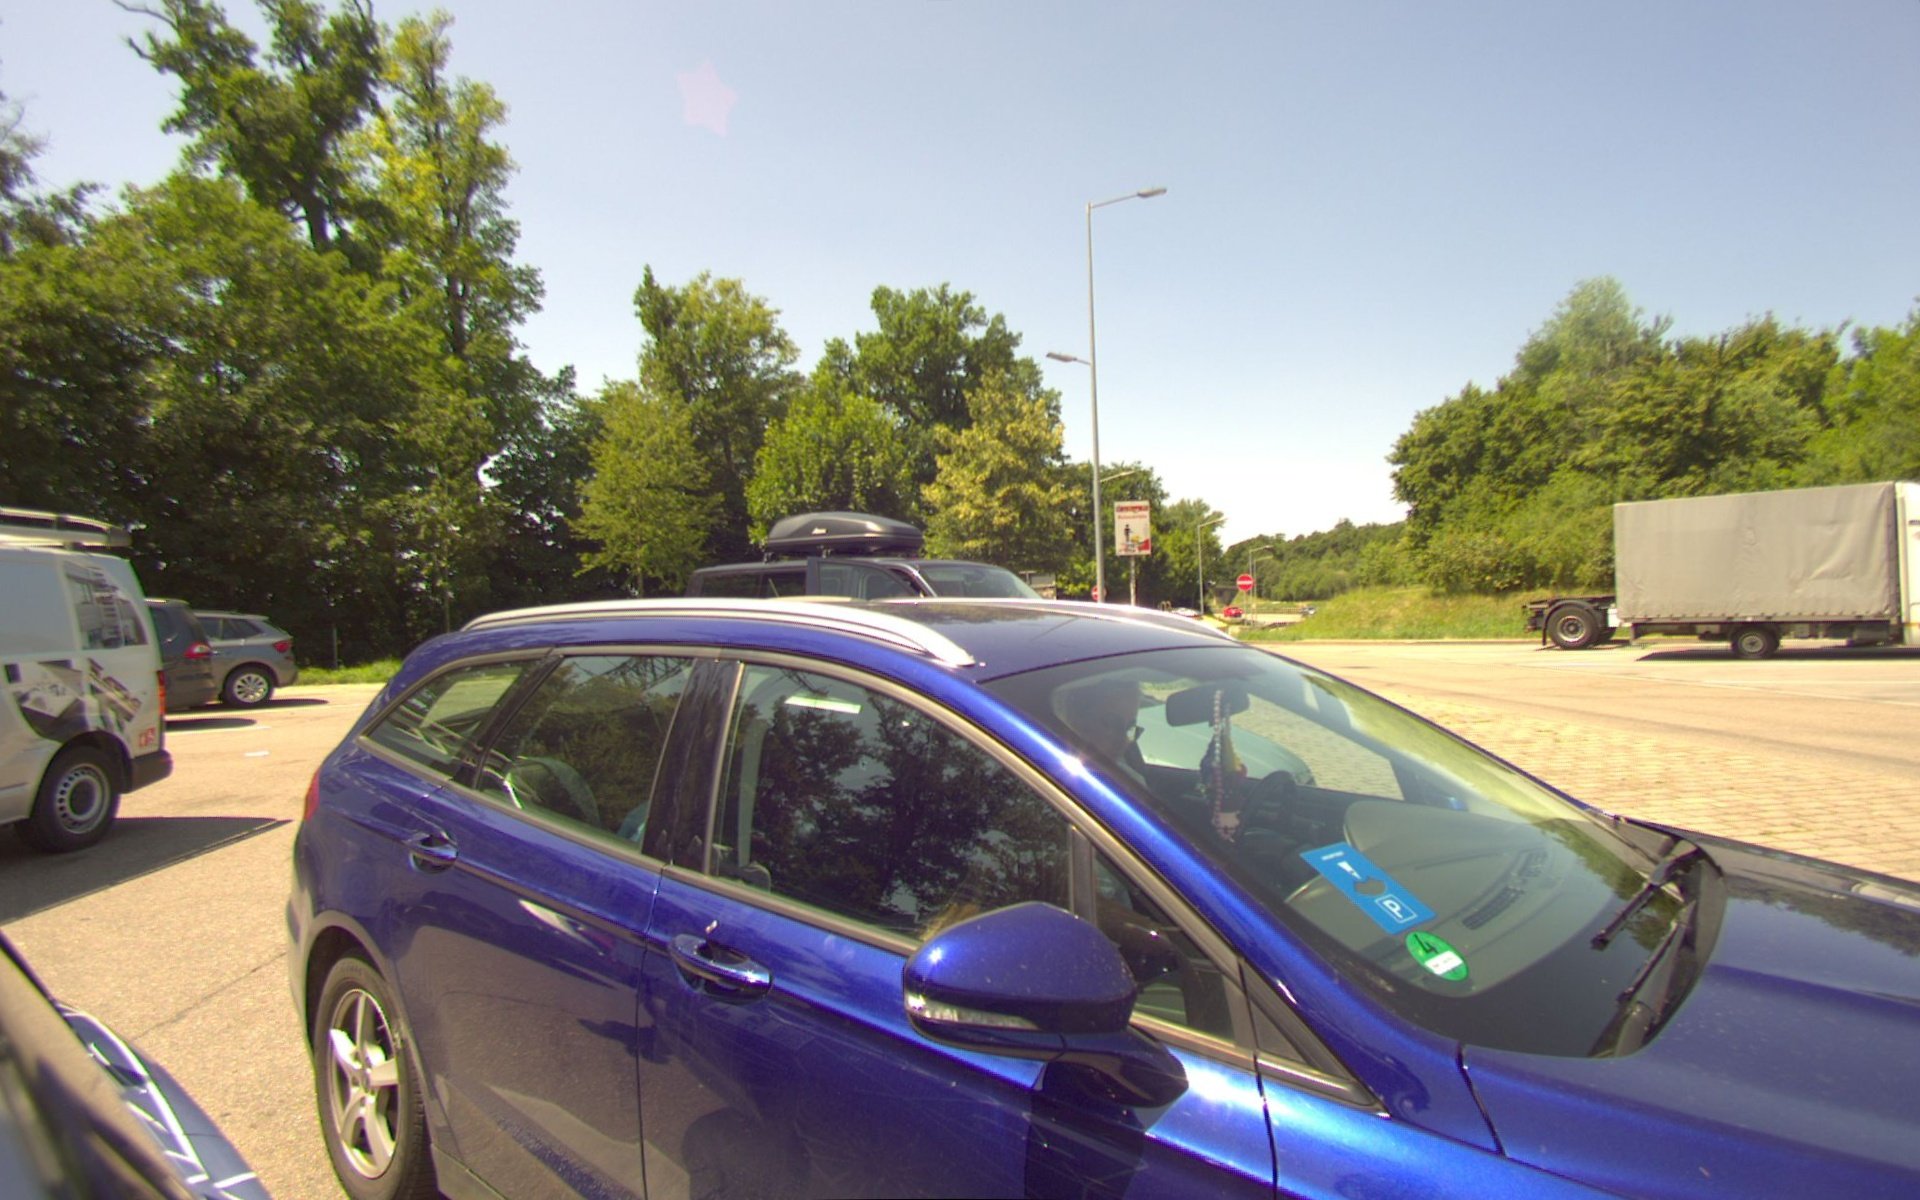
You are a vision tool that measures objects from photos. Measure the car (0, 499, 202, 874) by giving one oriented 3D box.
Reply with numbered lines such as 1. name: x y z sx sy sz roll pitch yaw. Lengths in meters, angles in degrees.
1. car: -6.256 0.477 4.672 1.816 2.121 5.440 0 -1 -5

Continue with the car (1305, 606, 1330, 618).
1. car: 53.177 1.829 150.499 1.853 1.742 4.006 -1 0 -7

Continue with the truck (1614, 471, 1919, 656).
1. truck: 16.647 -0.613 18.787 7.253 3.175 2.148 -2 -1 41

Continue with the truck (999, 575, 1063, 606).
1. truck: 3.408 -0.451 48.707 2.866 1.386 1.158 -2 -1 22

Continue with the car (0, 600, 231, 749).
1. car: -11.479 0.881 12.481 1.755 1.701 3.798 -2 -1 45

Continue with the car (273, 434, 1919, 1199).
1. car: 0.262 0.635 2.084 4.411 1.429 1.721 -2 -1 41

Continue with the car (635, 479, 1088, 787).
1. car: -1.039 0.313 9.580 4.076 2.336 1.767 -2 -1 35

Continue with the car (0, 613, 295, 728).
1. car: -12.563 0.999 15.692 3.535 1.513 1.708 -1 0 -42

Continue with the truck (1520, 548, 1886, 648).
1. truck: 16.977 0.054 23.548 6.613 2.029 1.973 -2 -1 41

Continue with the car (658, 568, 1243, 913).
1. car: -0.207 0.596 5.565 3.112 1.370 1.326 -2 -1 41
